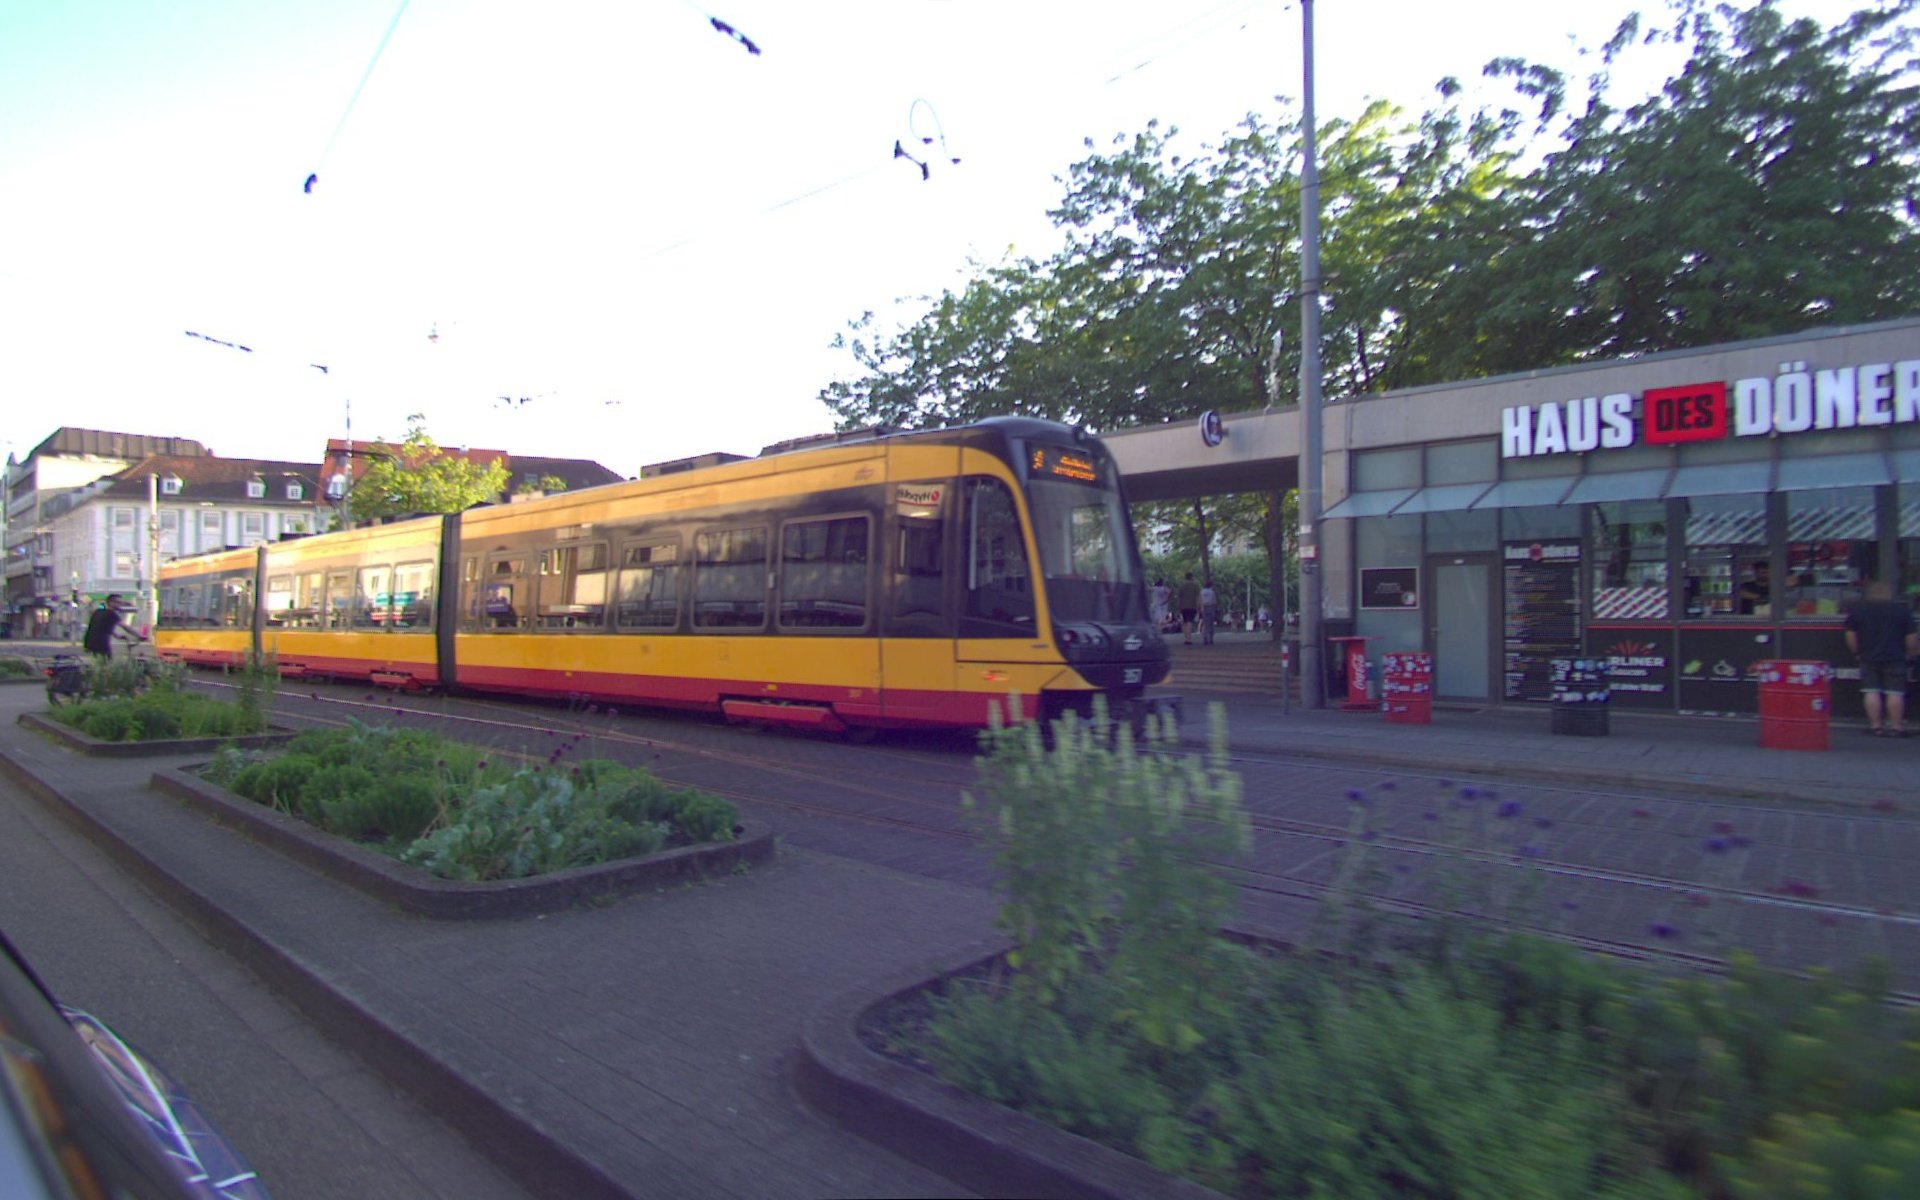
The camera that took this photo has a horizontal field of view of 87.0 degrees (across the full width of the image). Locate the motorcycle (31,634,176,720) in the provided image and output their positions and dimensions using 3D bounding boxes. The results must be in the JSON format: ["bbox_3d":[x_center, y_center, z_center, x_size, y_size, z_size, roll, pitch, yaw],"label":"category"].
[{"bbox_3d":[-13.825,1.202,16.381,1.752,1.247,0.807,-1,0,-41],"label":"motorcycle"}]

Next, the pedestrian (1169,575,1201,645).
[{"bbox_3d":[5.740,0.274,25.830,0.610,1.749,0.587,-2,-3,38],"label":"pedestrian"}]

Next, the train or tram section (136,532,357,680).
[{"bbox_3d":[-21.412,0.292,30.000,10.778,3.714,2.865,-2,-2,41],"label":"train or tram section"}]

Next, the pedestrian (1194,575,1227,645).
[{"bbox_3d":[6.279,0.263,25.383,0.619,1.749,0.587,-2,-3,38],"label":"pedestrian"}]

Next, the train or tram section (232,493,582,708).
[{"bbox_3d":[-12.808,0.155,22.532,11.976,3.714,2.865,-2,-2,41],"label":"train or tram section"}]

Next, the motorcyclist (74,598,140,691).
[{"bbox_3d":[-13.818,0.698,16.409,0.787,1.450,0.801,-1,0,-40],"label":"motorcyclist"}]

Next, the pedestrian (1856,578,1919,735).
[{"bbox_3d":[10.177,0.598,11.018,0.551,1.665,0.556,-1,0,35],"label":"pedestrian"}]

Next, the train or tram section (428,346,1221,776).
[{"bbox_3d":[-3.229,-0.181,14.242,13.473,3.714,2.865,-2,-2,41],"label":"train or tram section"}]
